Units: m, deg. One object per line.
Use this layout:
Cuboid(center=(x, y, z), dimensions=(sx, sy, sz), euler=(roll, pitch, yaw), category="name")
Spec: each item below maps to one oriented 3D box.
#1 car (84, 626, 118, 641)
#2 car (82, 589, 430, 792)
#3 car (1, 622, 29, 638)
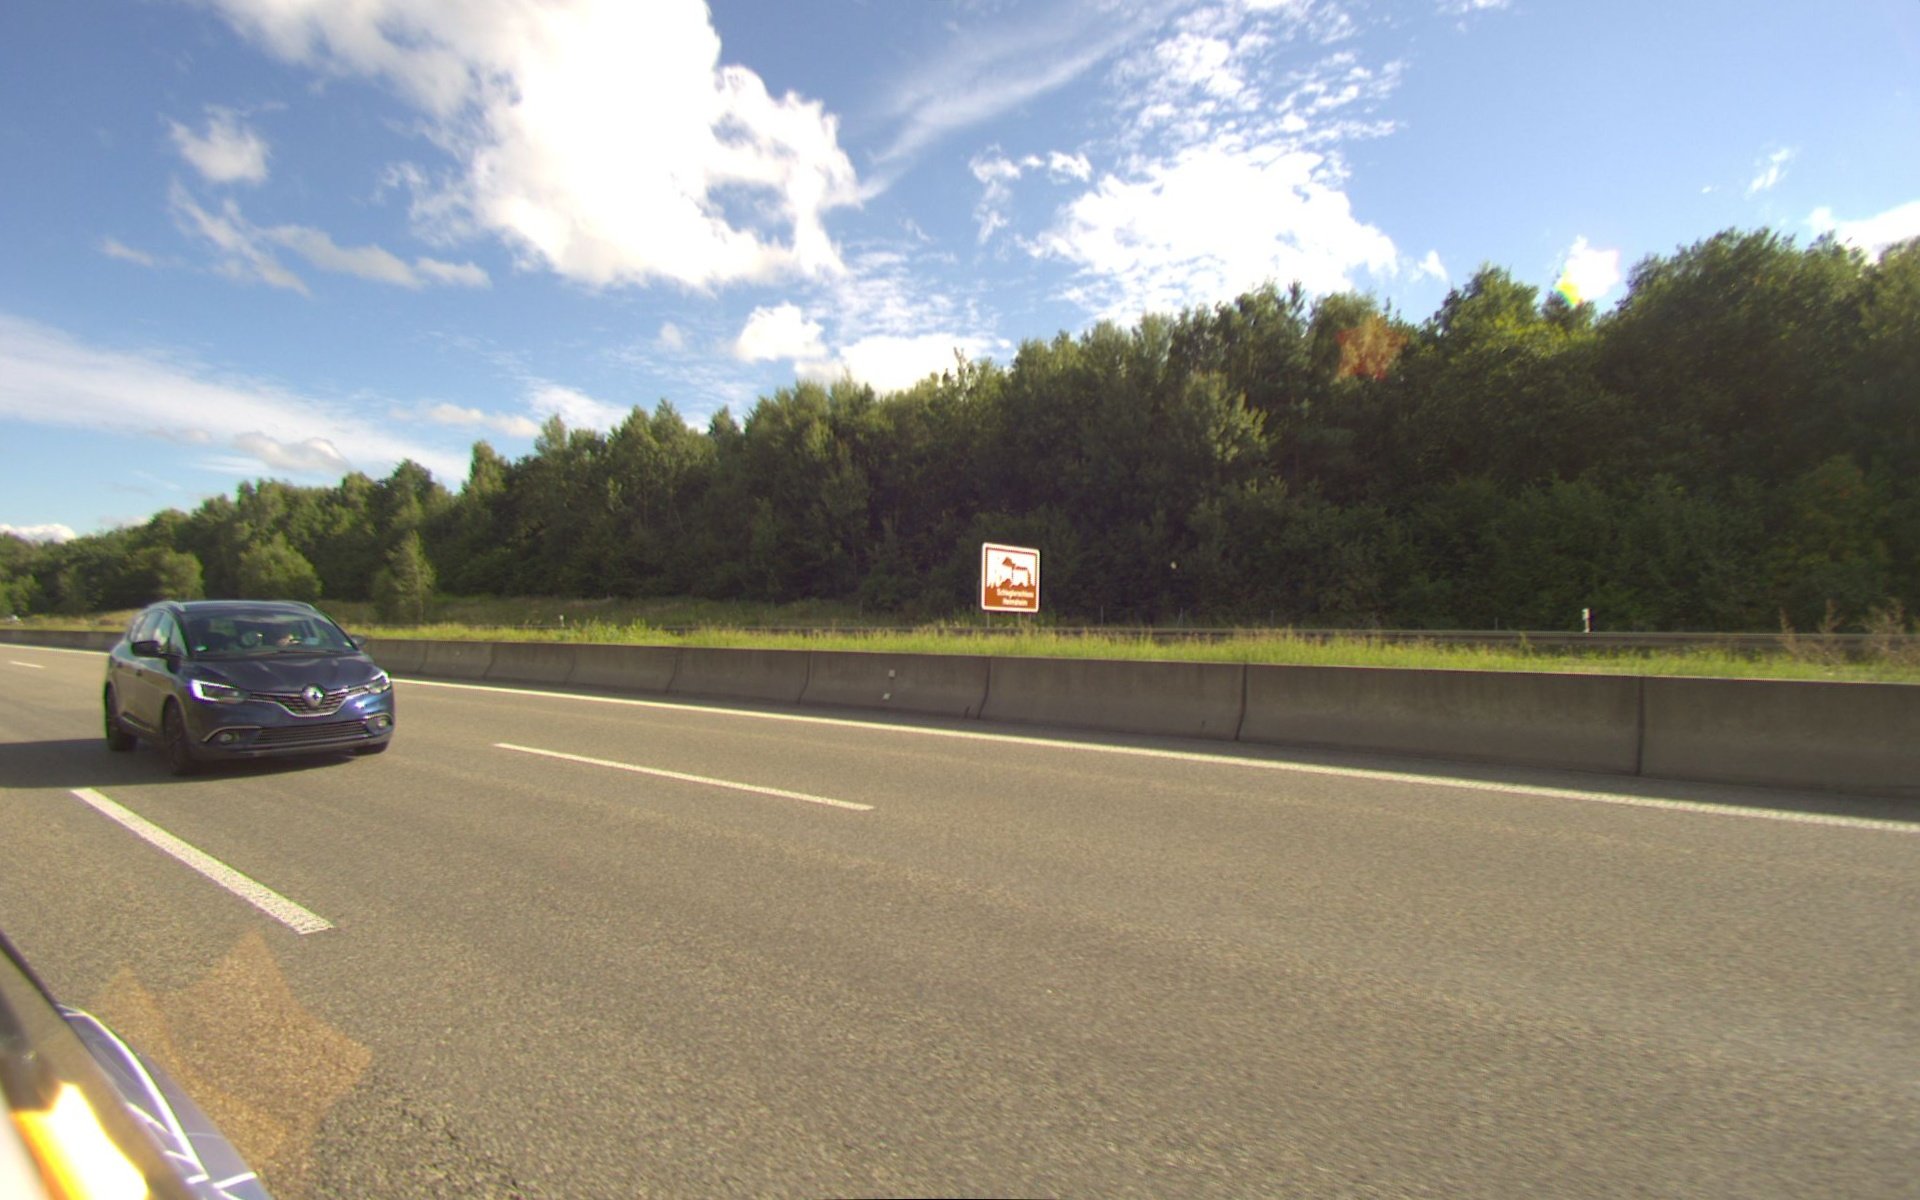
Cuboid(center=(-82.616, 3.209, 97.369), dimensions=(3.997, 1.463, 1.887), euler=(-1, -1, 40), category="car")
Cuboid(center=(-7.676, 0.799, 10.857), dimensions=(4.526, 1.719, 1.973), euler=(-1, 0, 40), category="car")
Cuboid(center=(-111.268, 3.540, 119.184), dimensions=(3.997, 1.814, 1.973), euler=(-1, -1, 40), category="car")
